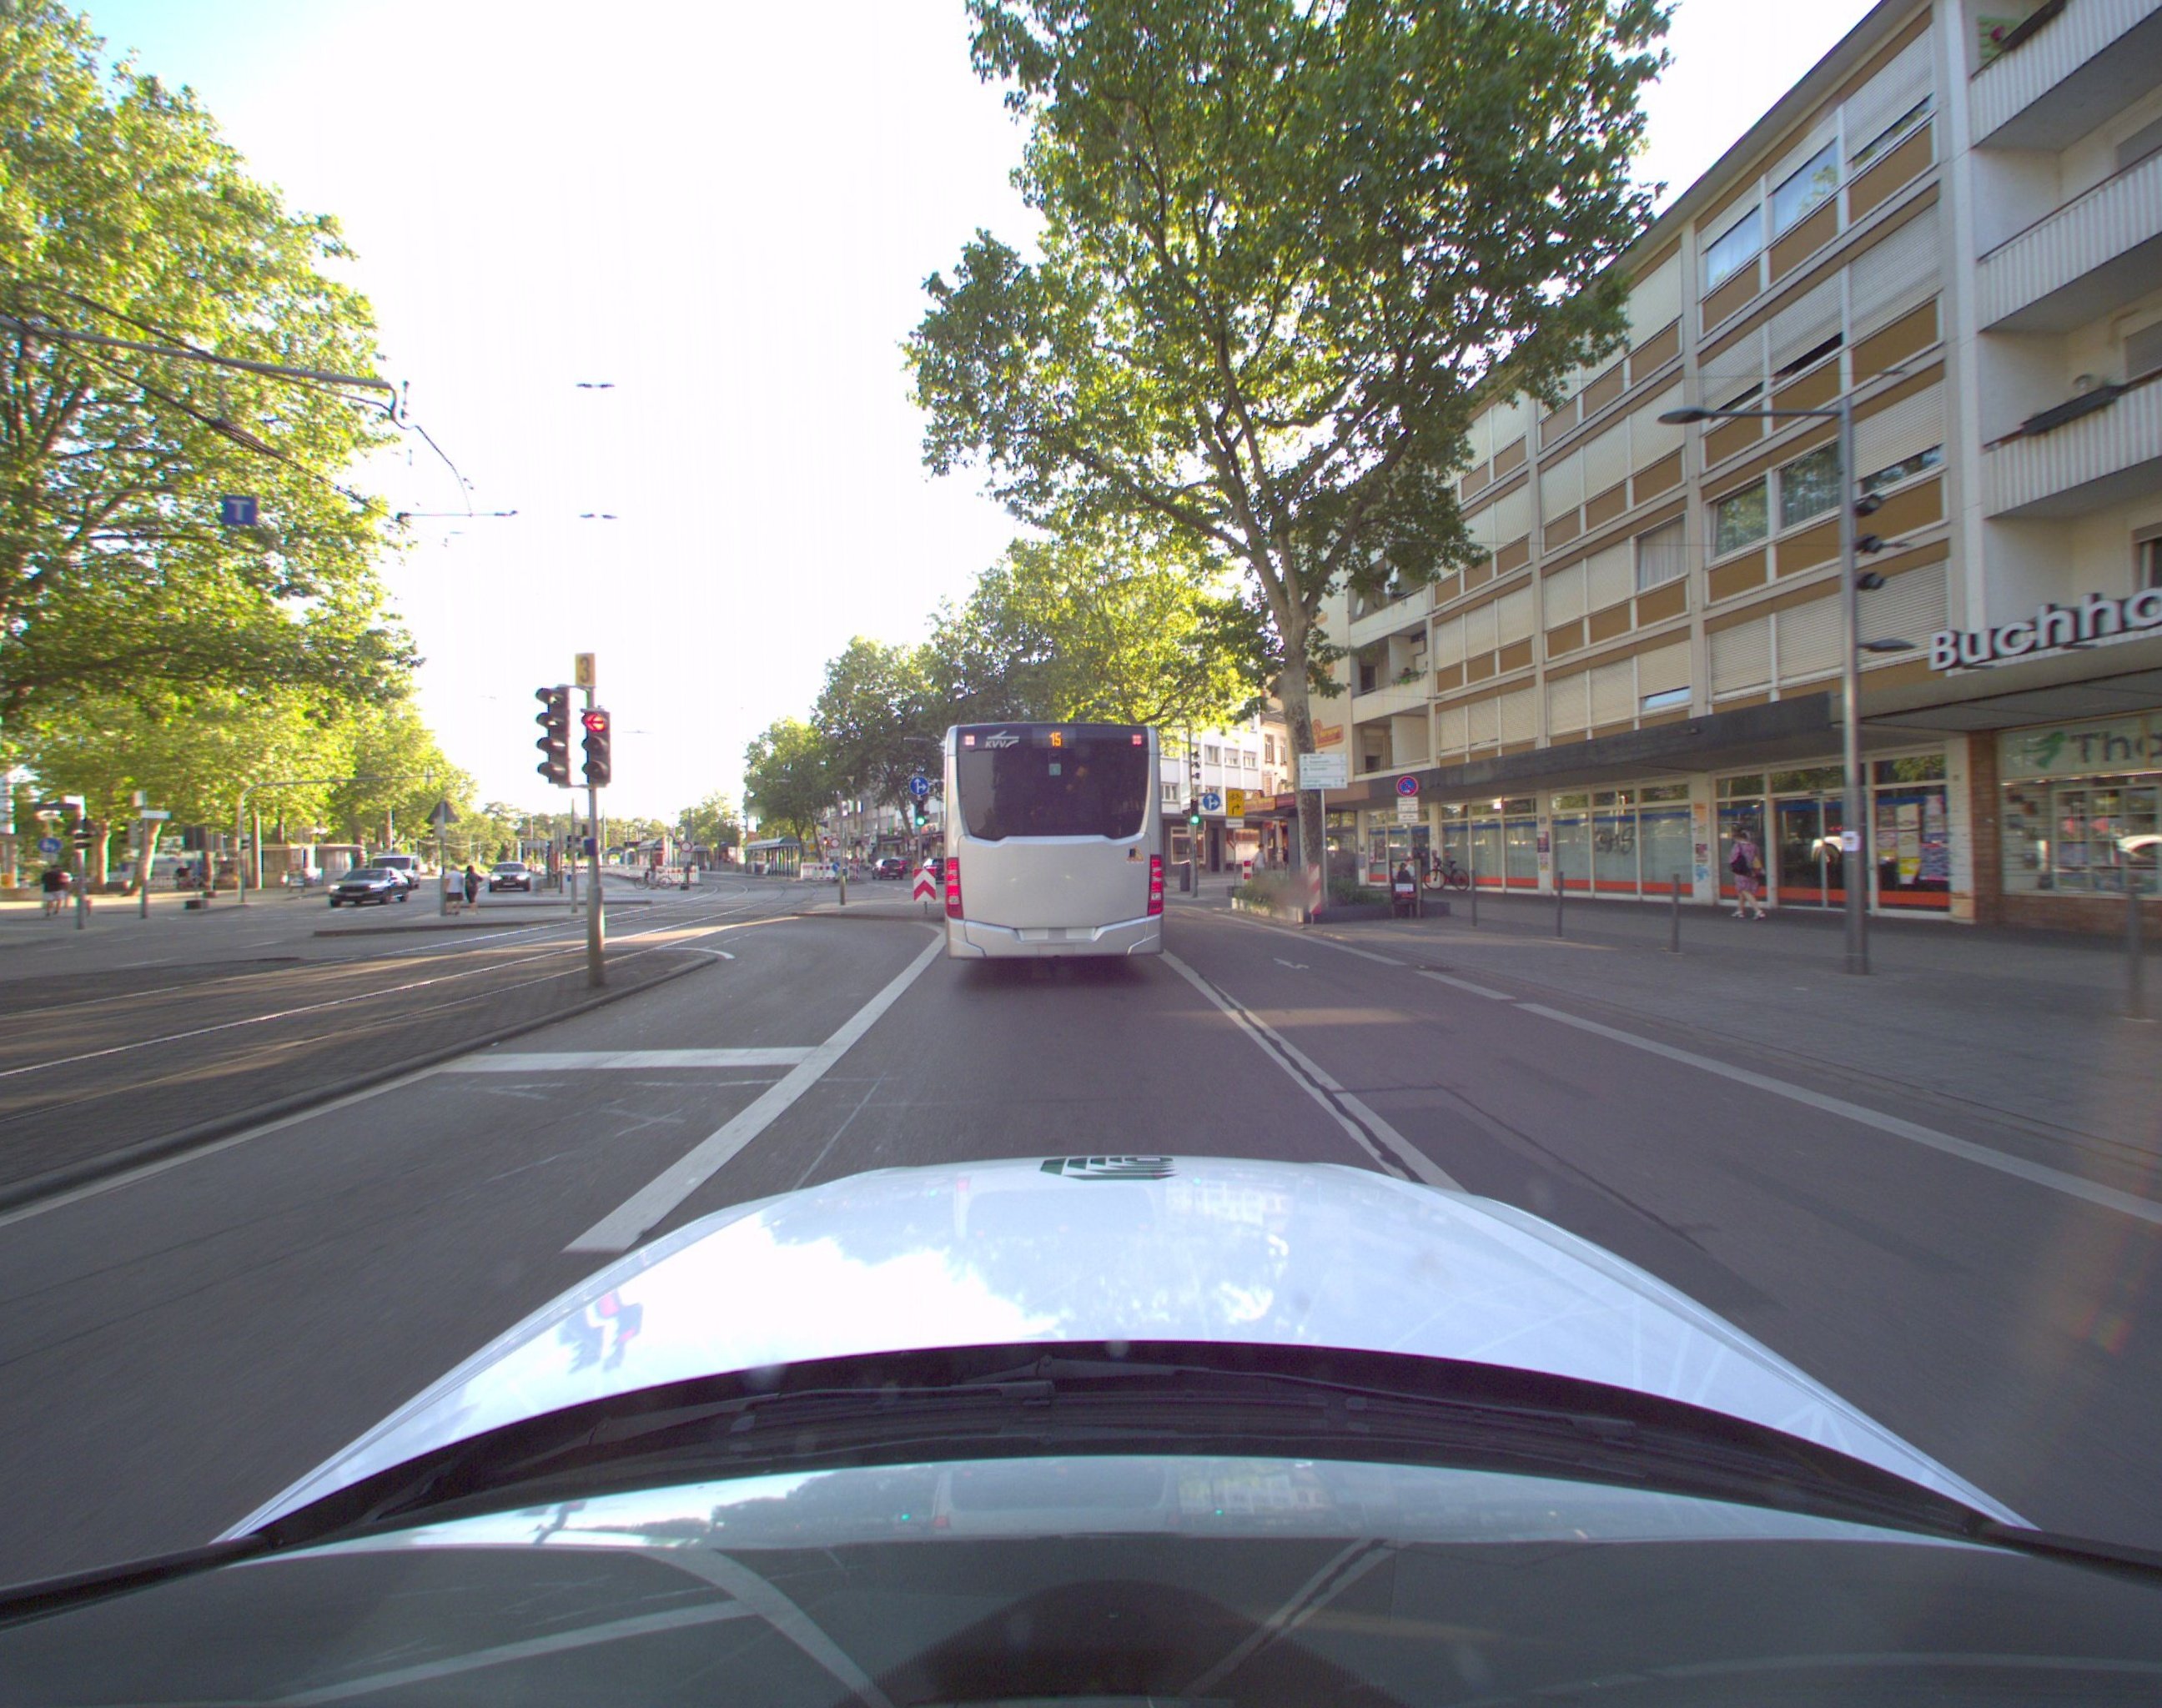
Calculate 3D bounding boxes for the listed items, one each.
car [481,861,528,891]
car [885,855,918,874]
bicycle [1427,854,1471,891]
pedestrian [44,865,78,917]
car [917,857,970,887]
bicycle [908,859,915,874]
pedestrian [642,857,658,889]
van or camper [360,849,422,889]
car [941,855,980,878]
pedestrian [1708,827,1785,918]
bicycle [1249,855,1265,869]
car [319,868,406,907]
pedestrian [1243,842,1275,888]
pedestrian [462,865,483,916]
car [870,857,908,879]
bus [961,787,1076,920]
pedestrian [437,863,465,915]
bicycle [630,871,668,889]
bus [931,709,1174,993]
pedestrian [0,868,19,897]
[{"bbox_3d":[-32.572,1.225,46.103,1.899,1.585,4.164,-1,0,-32],"label":"car"},{"bbox_3d":[-15.747,0.881,71.319,1.673,1.468,3.379,-5,2,-31],"label":"car"},{"bbox_3d":[11.500,0.554,25.499,0.438,1.092,1.455,-3,0,-13],"label":"bicycle"},{"bbox_3d":[-34.332,1.237,27.419,0.426,1.710,0.681,1,0,38],"label":"pedestrian"},{"bbox_3d":[-7.328,0.906,43.136,1.764,1.464,3.967,-1,0,-25],"label":"car"},{"bbox_3d":[-14.177,1.071,68.030,0.508,1.211,2.082,-1,0,-14],"label":"bicycle"},{"bbox_3d":[-23.905,1.039,45.156,0.725,1.725,0.395,-1,0,-35],"label":"pedestrian"},{"bbox_3d":[-42.814,0.919,50.646,2.182,2.319,5.053,-1,0,-31],"label":"van or camper"},{"bbox_3d":[-8.910,0.879,59.990,1.673,1.516,3.380,-4,2,-30],"label":"car"},{"bbox_3d":[11.788,0.321,14.450,0.639,1.552,0.806,-2,0,-7],"label":"pedestrian"},{"bbox_3d":[12.870,0.578,59.556,0.291,1.040,1.729,-4,-2,41],"label":"bicycle"},{"bbox_3d":[-29.794,1.346,33.921,1.898,1.472,4.166,-1,0,-30],"label":"car"},{"bbox_3d":[6.809,0.421,31.224,0.837,1.712,0.789,-3,1,-18],"label":"pedestrian"},{"bbox_3d":[-18.381,1.090,24.605,0.410,1.504,0.512,-1,0,-28],"label":"pedestrian"},{"bbox_3d":[-13.315,0.963,56.353,1.764,1.464,3.967,-1,0,-25],"label":"car"},{"bbox_3d":[-1.997,0.025,24.302,2.655,3.098,10.193,-1,0,-6],"label":"bus"},{"bbox_3d":[-18.616,1.022,24.072,0.523,1.504,0.588,-1,0,-28],"label":"pedestrian"},{"bbox_3d":[-24.155,1.428,45.527,1.854,0.942,0.458,-1,0,-35],"label":"bicycle"},{"bbox_3d":[-0.836,-0.015,14.123,2.655,3.098,10.193,-1,0,-6],"label":"bus"},{"bbox_3d":[-53.685,1.420,40.689,0.684,1.395,0.681,1,0,30],"label":"pedestrian"}]
